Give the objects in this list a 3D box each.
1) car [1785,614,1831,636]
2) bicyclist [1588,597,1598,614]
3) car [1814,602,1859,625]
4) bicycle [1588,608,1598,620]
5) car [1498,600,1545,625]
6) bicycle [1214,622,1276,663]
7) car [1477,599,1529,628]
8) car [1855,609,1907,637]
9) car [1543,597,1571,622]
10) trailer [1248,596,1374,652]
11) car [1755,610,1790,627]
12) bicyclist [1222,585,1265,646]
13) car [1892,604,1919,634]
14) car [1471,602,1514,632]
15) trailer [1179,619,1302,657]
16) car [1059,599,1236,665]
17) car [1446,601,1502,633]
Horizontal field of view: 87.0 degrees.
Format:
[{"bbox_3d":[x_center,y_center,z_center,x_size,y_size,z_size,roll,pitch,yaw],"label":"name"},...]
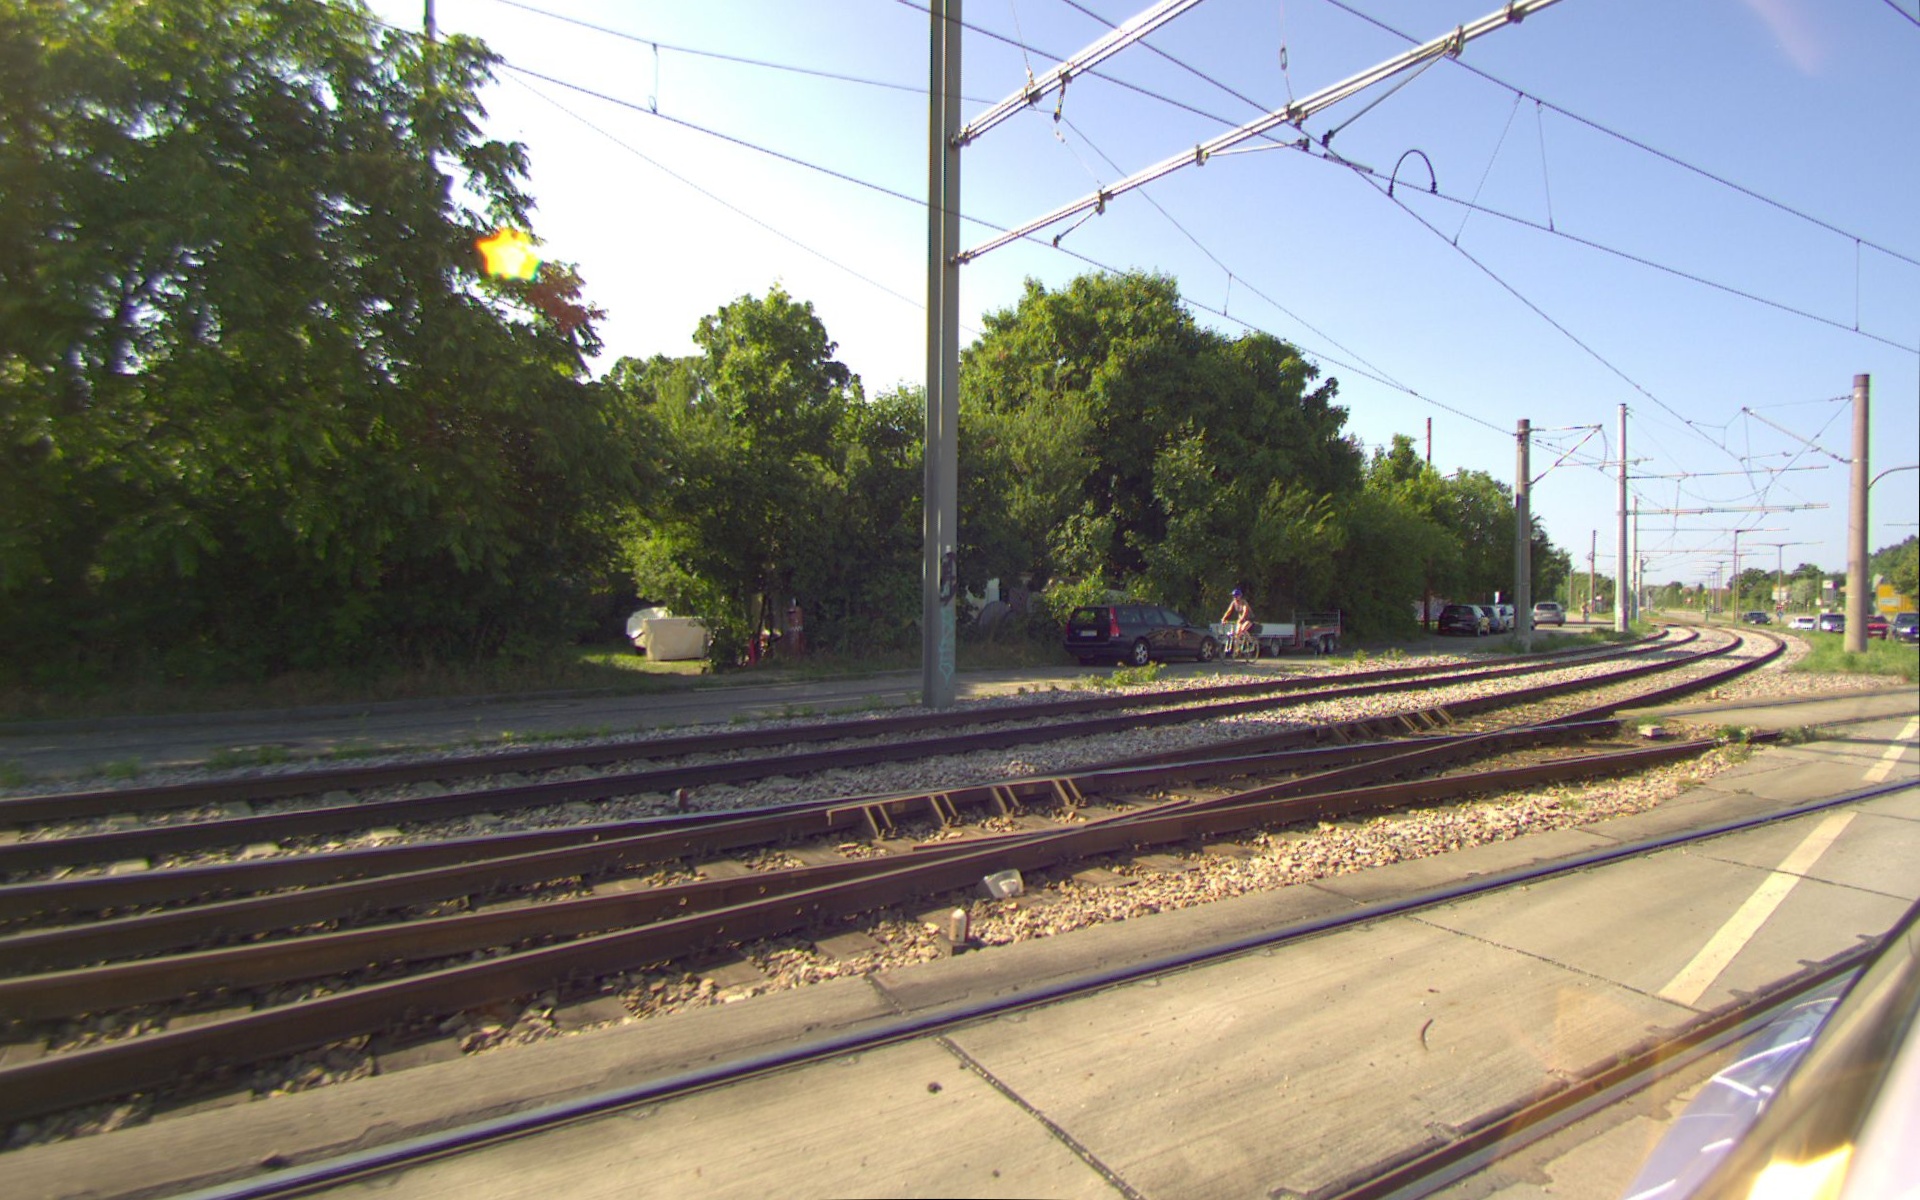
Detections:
[{"bbox_3d":[65.936,1.911,78.712,1.952,1.639,4.263,0,0,29],"label":"car"},{"bbox_3d":[47.097,0.407,75.303,0.636,1.249,0.782,0,-1,33],"label":"bicyclist"},{"bbox_3d":[61.321,0.962,70.852,1.595,1.532,4.220,-1,-1,31],"label":"car"},{"bbox_3d":[47.116,1.040,75.336,0.640,0.921,1.792,0,-1,32],"label":"bicycle"},{"bbox_3d":[33.282,0.754,59.903,1.676,1.448,3.853,-1,-2,41],"label":"car"},{"bbox_3d":[6.927,1.013,24.556,0.643,0.921,1.814,0,-1,45],"label":"bicycle"},{"bbox_3d":[29.677,0.743,55.222,1.707,1.484,4.327,1,0,39],"label":"car"},{"bbox_3d":[55.438,1.383,60.958,1.837,1.617,3.690,-1,-1,35],"label":"car"},{"bbox_3d":[40.759,0.625,69.056,1.515,1.630,4.432,2,0,32],"label":"car"},{"bbox_3d":[10.858,0.715,31.167,2.027,1.617,4.190,-3,-2,45],"label":"trailer"},{"bbox_3d":[74.972,1.691,93.465,1.822,1.532,4.110,-1,-1,29],"label":"car"},{"bbox_3d":[6.876,0.373,24.512,0.629,1.440,0.947,0,-1,45],"label":"bicyclist"},{"bbox_3d":[44.821,0.860,47.112,1.840,1.373,4.095,-1,-1,39],"label":"car"},{"bbox_3d":[26.950,0.815,51.157,1.479,1.419,4.099,1,0,34],"label":"car"},{"bbox_3d":[7.931,1.064,28.467,3.667,0.951,1.732,0,-3,-45],"label":"trailer"},{"bbox_3d":[4.693,0.761,24.893,4.796,1.475,1.700,1,-3,-42],"label":"car"},{"bbox_3d":[24.047,0.787,47.276,1.618,1.428,4.461,-1,-1,37],"label":"car"}]
